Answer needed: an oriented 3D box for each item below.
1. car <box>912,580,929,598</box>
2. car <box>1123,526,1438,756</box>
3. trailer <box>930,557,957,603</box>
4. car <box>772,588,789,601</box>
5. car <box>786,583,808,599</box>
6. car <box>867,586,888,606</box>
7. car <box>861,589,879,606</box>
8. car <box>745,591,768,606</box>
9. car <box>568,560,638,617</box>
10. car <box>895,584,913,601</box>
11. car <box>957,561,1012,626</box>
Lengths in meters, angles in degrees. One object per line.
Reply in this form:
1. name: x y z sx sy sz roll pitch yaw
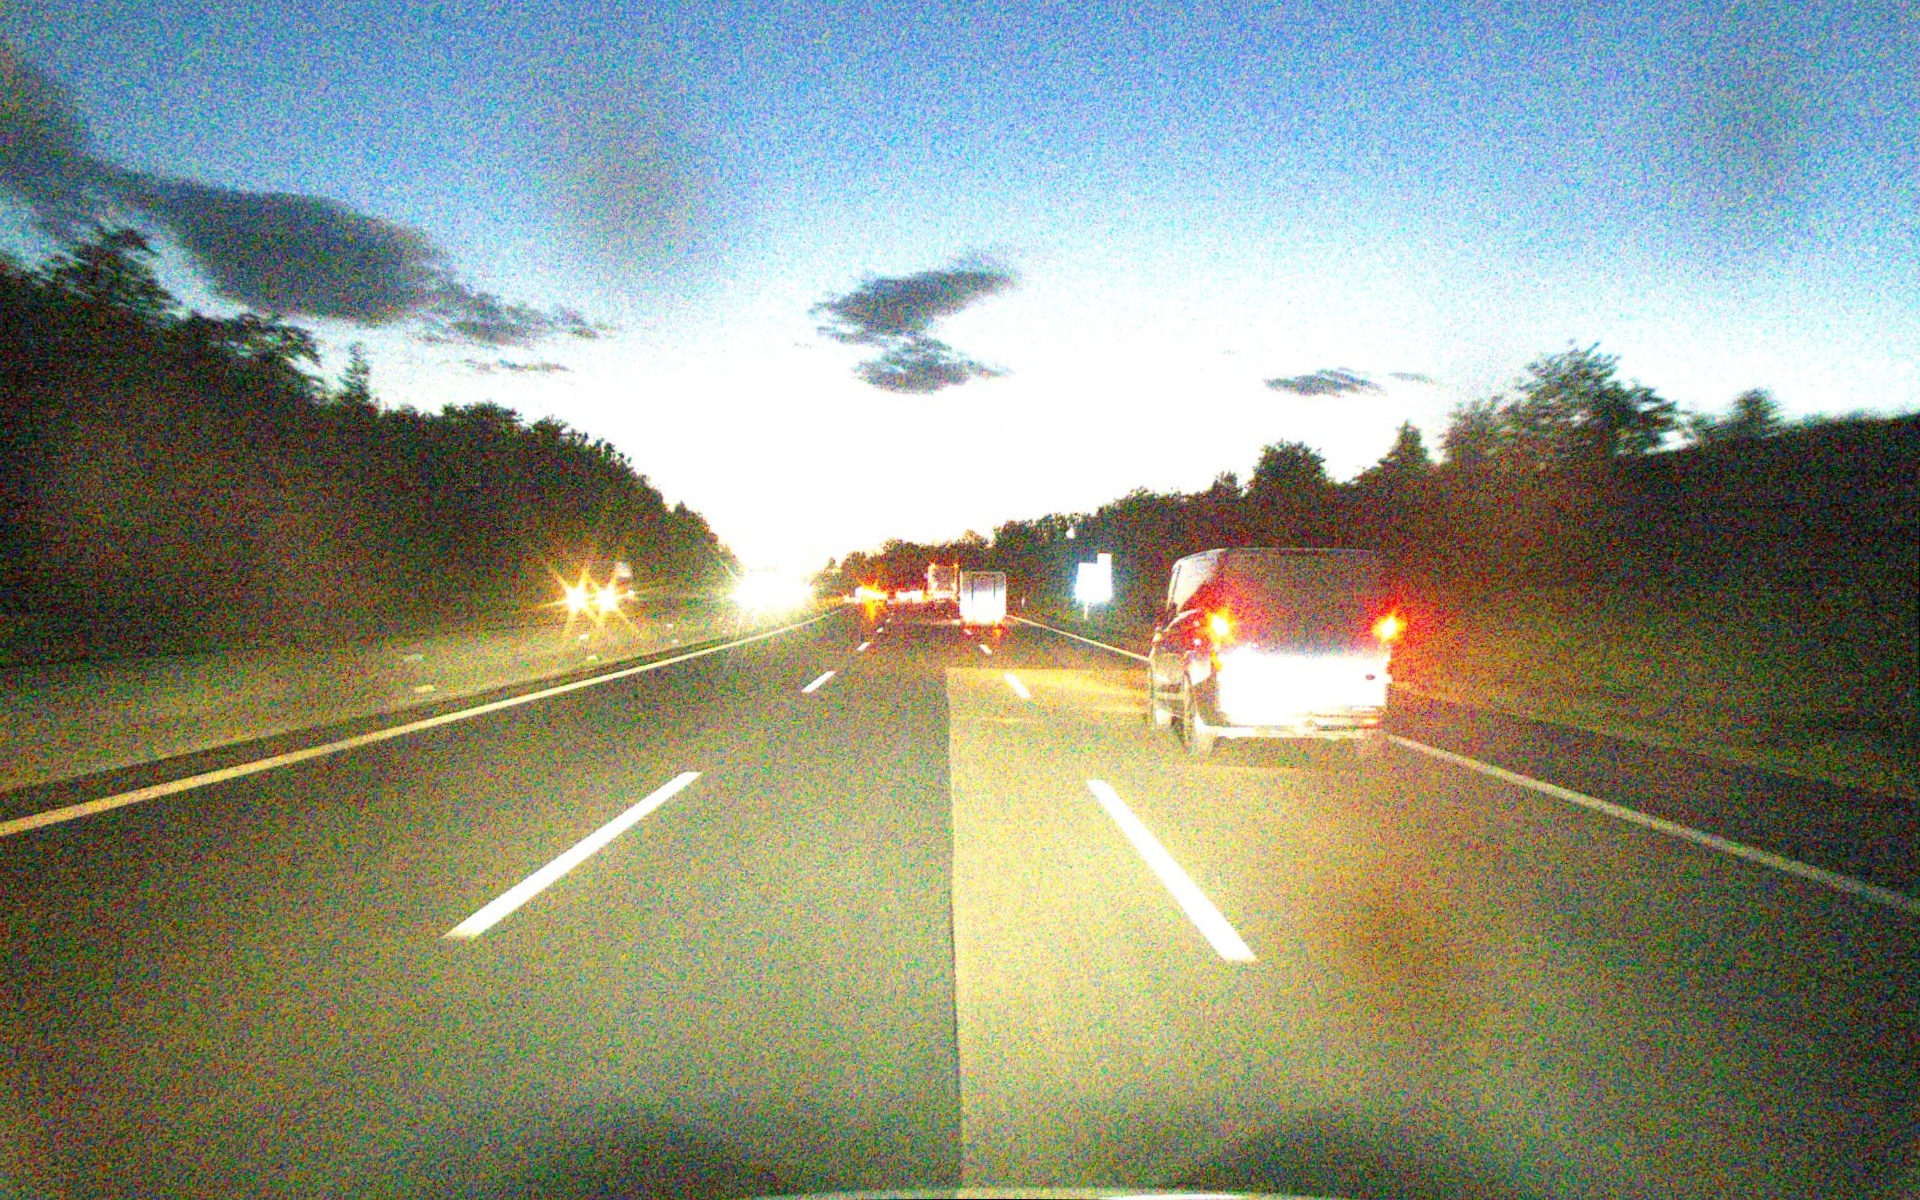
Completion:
1. car: -5.294 -1.456 221.053 1.955 2.154 3.994 1 -2 -6
2. car: 3.168 0.372 17.715 2.073 2.036 5.661 1 0 -2
3. trailer: -1.822 -2.036 181.475 2.771 4.331 17.044 1 -2 0
4. car: -23.673 -0.697 218.102 1.970 1.699 4.945 1 0 -4
5. car: -17.401 -0.970 177.194 1.969 1.699 4.482 1 0 -1
6. car: -8.042 -0.399 160.751 1.954 1.825 3.996 1 -2 -4
7. car: -10.599 -0.264 194.509 1.953 1.848 3.998 1 -2 -2
8. car: -21.039 -0.155 171.020 1.970 1.493 4.206 1 0 -3
9. car: -16.919 -0.543 78.722 2.058 2.561 6.214 1 0 -1
10. car: -6.278 -0.839 185.108 1.953 1.825 3.998 1 -2 -2
11. car: 1.037 -0.270 72.067 1.992 2.693 5.721 1 0 -3
